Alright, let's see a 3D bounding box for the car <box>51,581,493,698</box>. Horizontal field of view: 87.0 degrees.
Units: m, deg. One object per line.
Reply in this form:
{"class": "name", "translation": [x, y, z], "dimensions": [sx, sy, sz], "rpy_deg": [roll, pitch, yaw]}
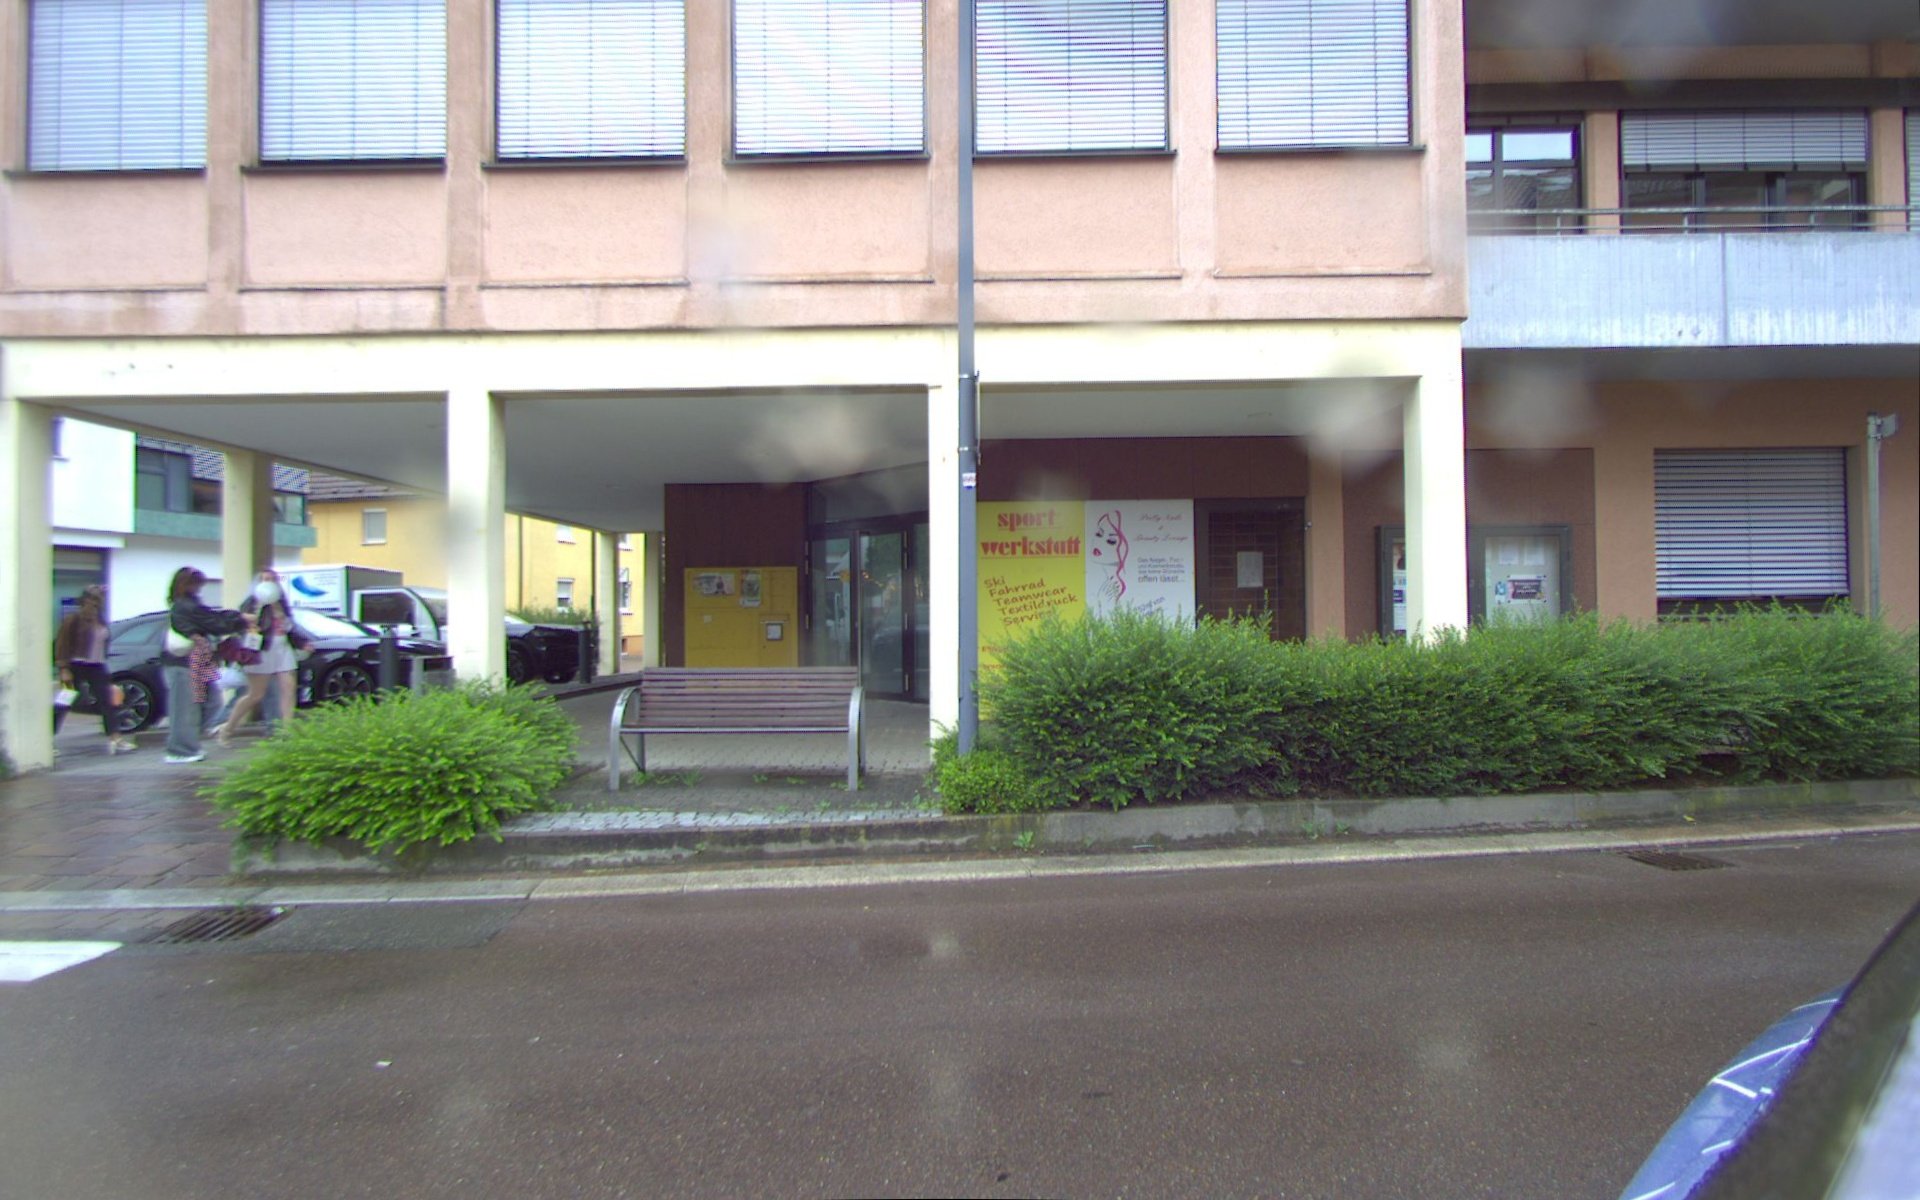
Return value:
{"class": "car", "translation": [-8.415, 0.462, 12.625], "dimensions": [4.389, 1.292, 1.767], "rpy_deg": [-1, 0, 3]}

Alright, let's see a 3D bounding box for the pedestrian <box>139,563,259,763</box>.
{"class": "pedestrian", "translation": [-6.768, 0.530, 9.038], "dimensions": [0.805, 1.682, 0.698], "rpy_deg": [0, -1, -33]}

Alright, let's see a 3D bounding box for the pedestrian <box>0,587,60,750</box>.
{"class": "pedestrian", "translation": [-10.378, 0.721, 10.950], "dimensions": [0.729, 1.711, 0.635], "rpy_deg": [-1, -1, 3]}

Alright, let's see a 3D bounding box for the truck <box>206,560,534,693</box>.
{"class": "truck", "translation": [-8.719, 0.381, 15.164], "dimensions": [3.926, 1.831, 1.767], "rpy_deg": [-1, 0, 2]}

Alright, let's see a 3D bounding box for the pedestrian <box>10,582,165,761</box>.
{"class": "pedestrian", "translation": [-8.301, 0.652, 9.658], "dimensions": [0.811, 1.624, 0.744], "rpy_deg": [0, 2, 7]}

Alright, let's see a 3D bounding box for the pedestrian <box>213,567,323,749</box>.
{"class": "pedestrian", "translation": [-6.786, 0.541, 9.959], "dimensions": [0.718, 1.711, 0.726], "rpy_deg": [-1, -1, -19]}
